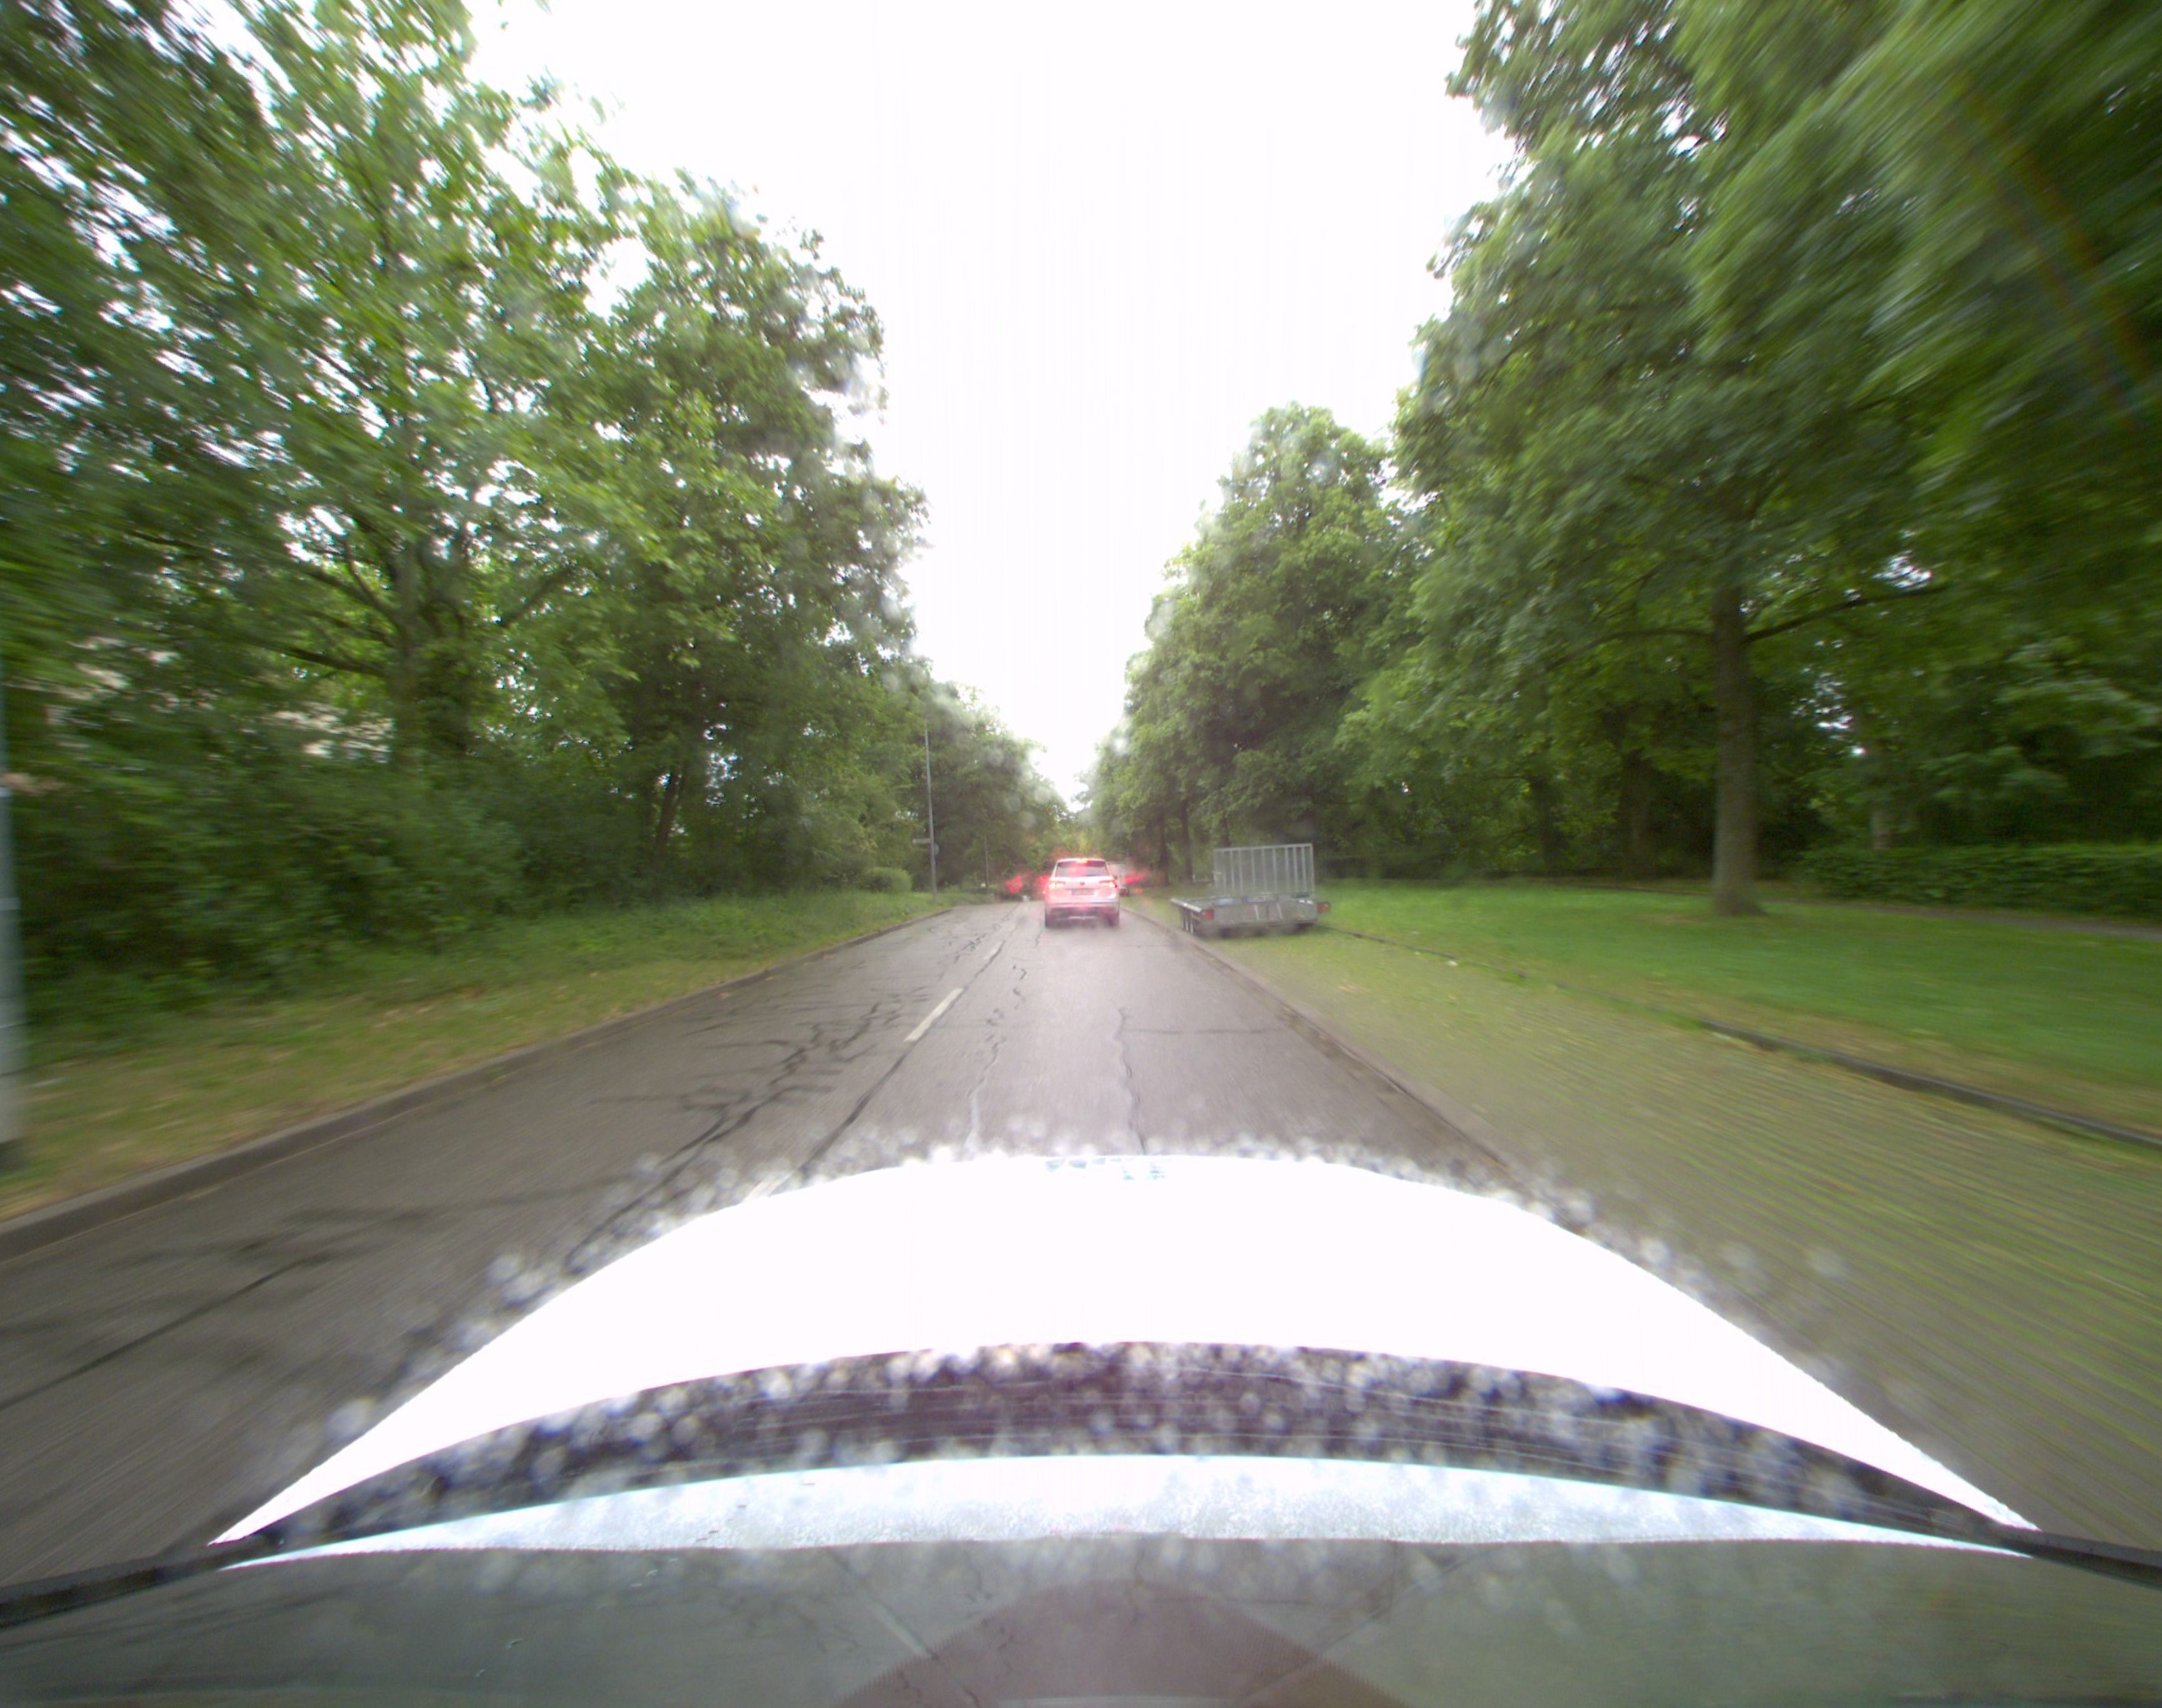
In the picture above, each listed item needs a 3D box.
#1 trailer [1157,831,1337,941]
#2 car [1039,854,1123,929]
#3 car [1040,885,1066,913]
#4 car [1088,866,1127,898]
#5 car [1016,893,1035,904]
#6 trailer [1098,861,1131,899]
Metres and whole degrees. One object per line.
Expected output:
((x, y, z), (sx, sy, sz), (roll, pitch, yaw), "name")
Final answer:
((3.228, 0.639, 17.411), (2.443, 1.813, 5.887), (-3, -1, -1), "trailer")
((-0.004, 0.903, 21.081), (1.899, 1.685, 4.199), (-2, -1, 0), "car")
((-2.533, 3.926, 72.115), (1.991, 2.013, 3.993), (-3, 2, -5), "car")
((1.698, 1.899, 53.893), (1.989, 1.910, 5.500), (-3, -3, -4), "car")
((-8.281, 6.665, 121.507), (1.982, 1.599, 4.019), (-3, -4, 9), "car")
((1.995, 1.605, 49.168), (1.526, 2.076, 3.995), (-4, -2, -2), "trailer")
